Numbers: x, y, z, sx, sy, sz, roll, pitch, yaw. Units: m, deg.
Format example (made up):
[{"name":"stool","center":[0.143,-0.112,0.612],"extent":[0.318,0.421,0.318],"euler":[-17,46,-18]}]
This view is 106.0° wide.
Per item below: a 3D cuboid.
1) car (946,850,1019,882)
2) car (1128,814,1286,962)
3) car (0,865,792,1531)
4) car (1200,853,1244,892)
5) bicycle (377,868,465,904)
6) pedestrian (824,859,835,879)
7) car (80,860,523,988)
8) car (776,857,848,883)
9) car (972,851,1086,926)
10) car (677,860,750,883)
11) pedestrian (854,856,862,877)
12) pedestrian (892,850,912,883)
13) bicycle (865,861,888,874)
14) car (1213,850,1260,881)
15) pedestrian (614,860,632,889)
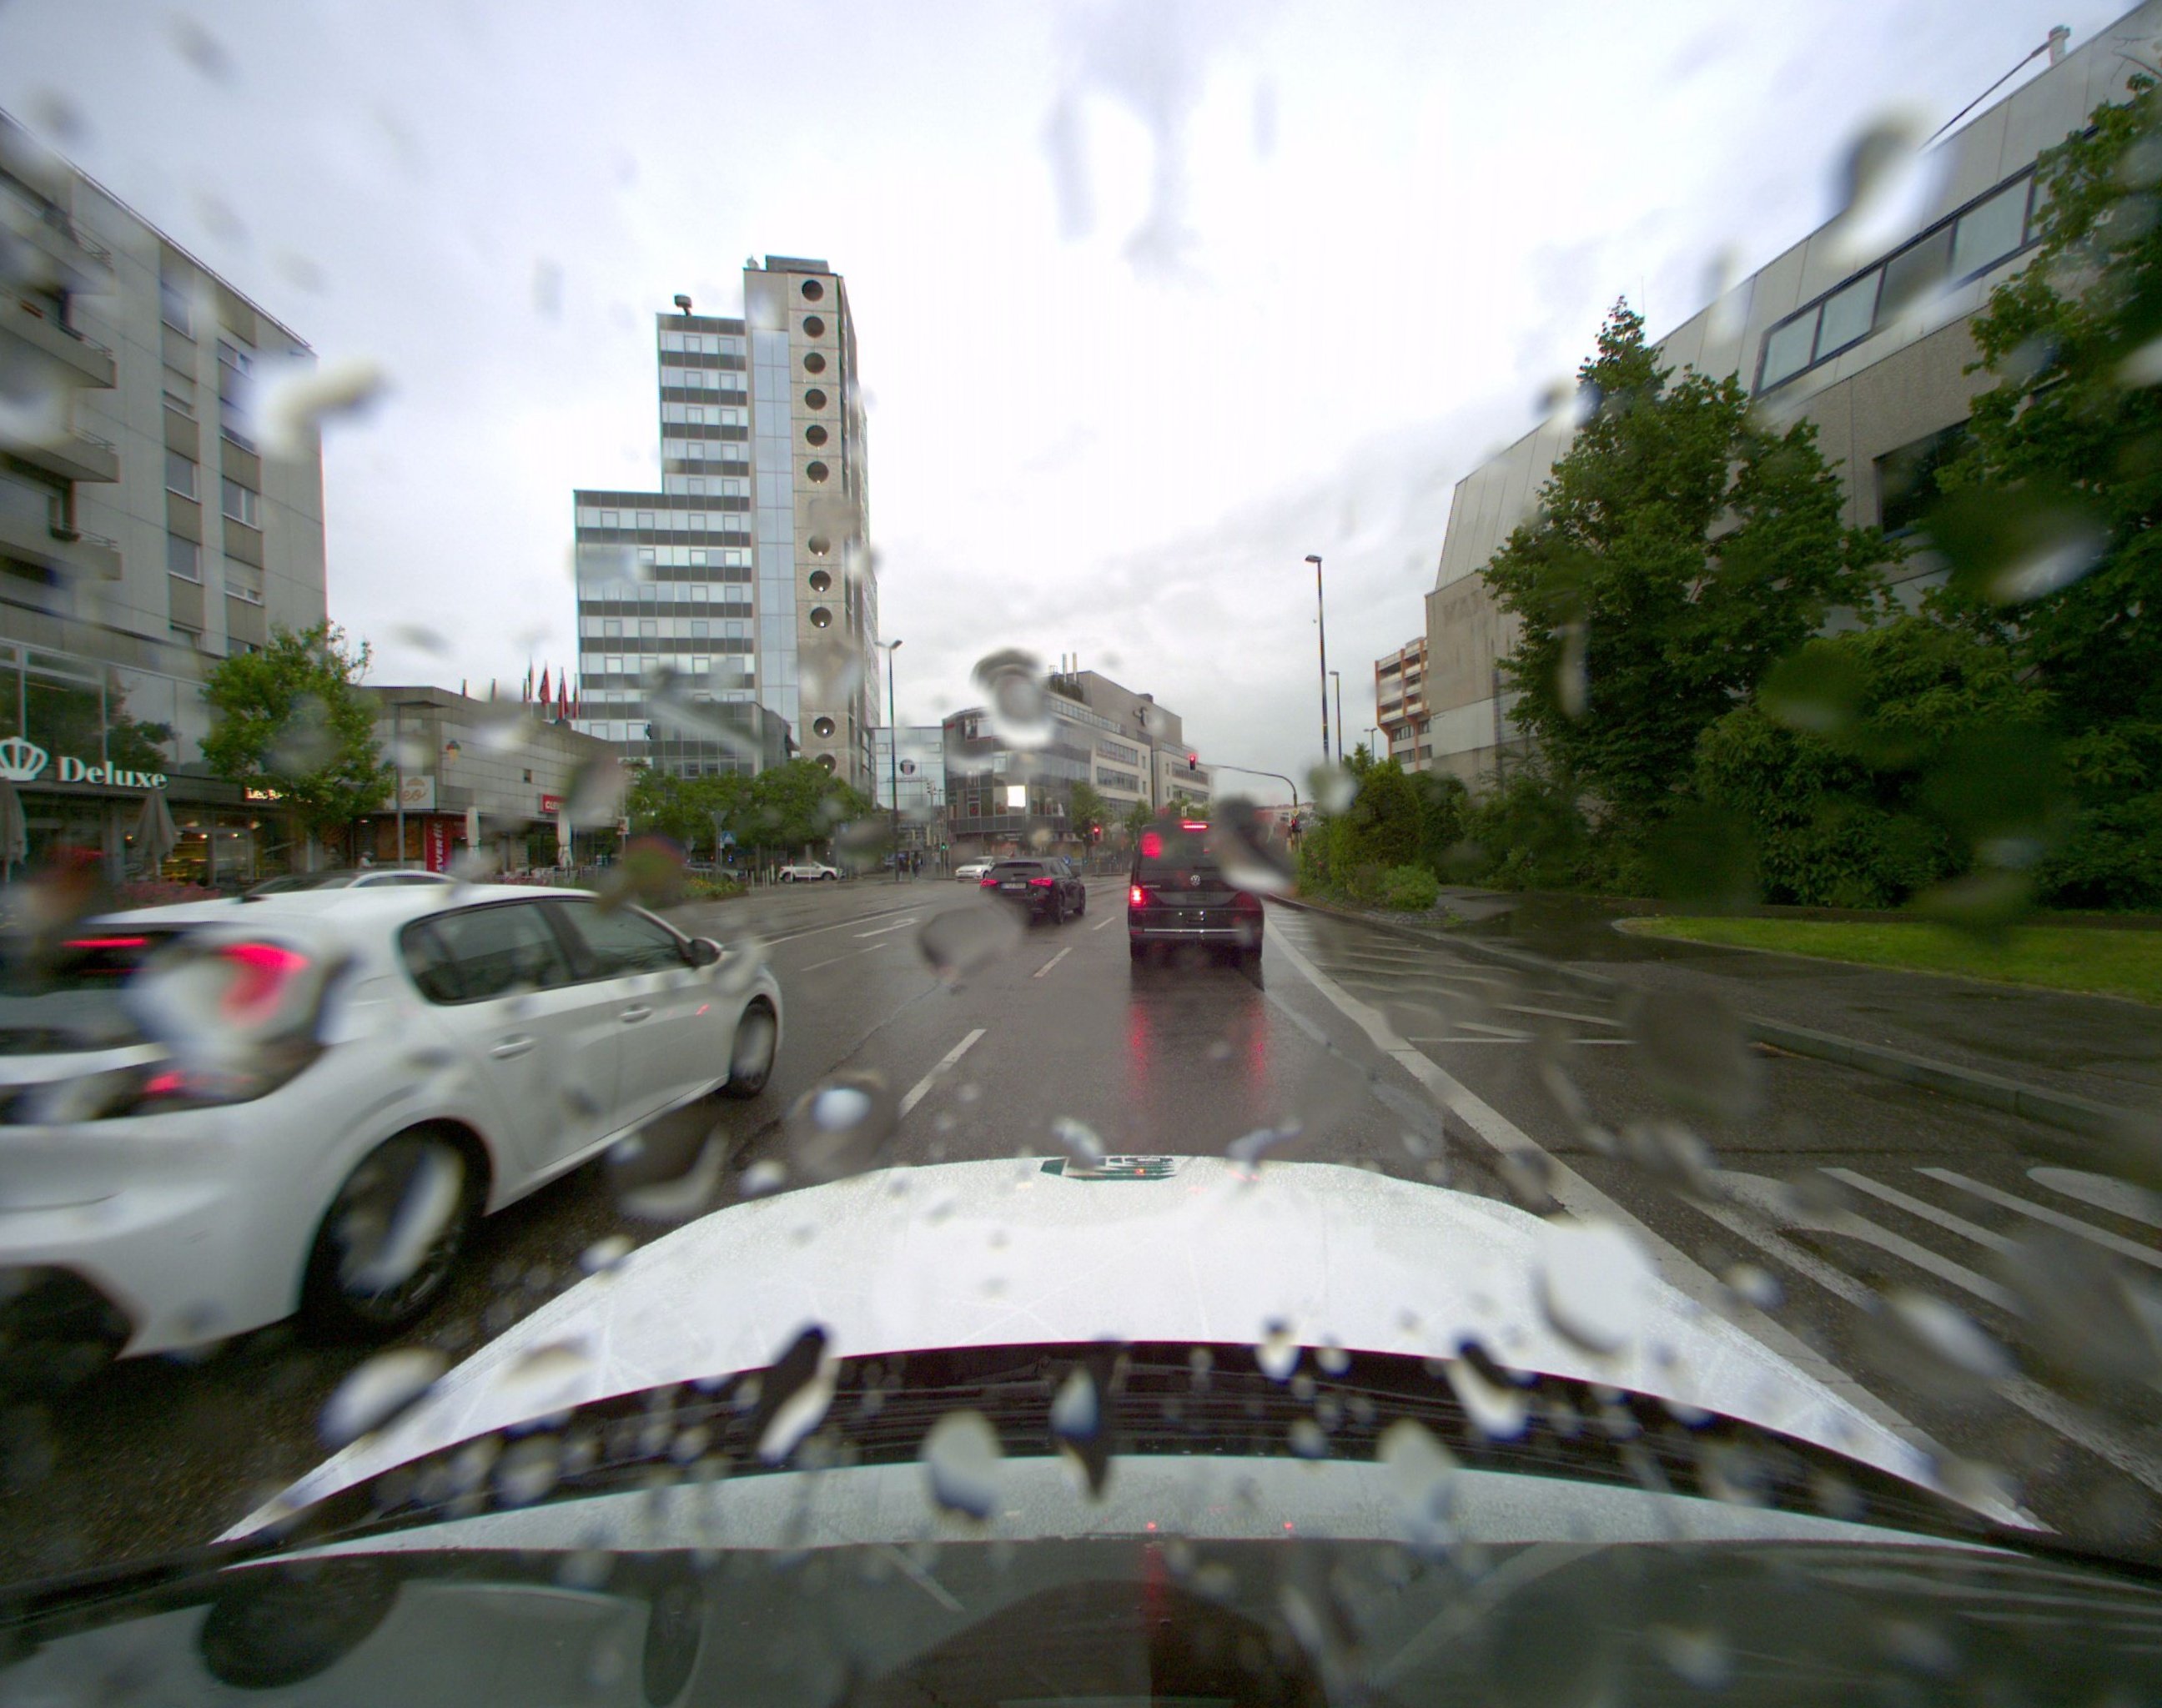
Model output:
[{"name":"car","center":[-5.480,0.661,45.880],"extent":[1.868,1.682,4.532],"euler":[-1,0,26]},{"name":"car","center":[1.926,0.464,12.805],"extent":[1.984,1.894,4.597],"euler":[-1,0,8]},{"name":"car","center":[-3.026,0.827,3.809],"extent":[1.865,1.462,3.874],"euler":[-1,0,1]},{"name":"car","center":[5.907,0.724,33.723],"extent":[1.623,1.448,4.283],"euler":[0,1,12]},{"name":"bicycle","center":[-24.285,1.170,29.992],"extent":[2.540,1.223,0.695],"euler":[-1,0,-4]},{"name":"pedestrian","center":[-24.196,1.447,78.294],"extent":[0.757,1.868,0.824],"euler":[-2,-1,-35]},{"name":"car","center":[-10.971,0.862,12.137],"extent":[1.835,1.460,4.811],"euler":[-1,0,2]},{"name":"car","center":[-18.039,1.071,54.816],"extent":[4.182,1.595,1.868],"euler":[-1,0,-3]},{"name":"car","center":[-1.069,0.705,18.711],"extent":[1.805,1.529,3.822],"euler":[0,0,9]},{"name":"car","center":[-24.783,1.184,55.052],"extent":[4.034,1.420,1.869],"euler":[-1,0,-2]},{"name":"pedestrian","center":[-21.738,1.204,79.430],"extent":[0.764,2.013,0.711],"euler":[-1,0,-15]},{"name":"pedestrian","center":[-11.152,0.762,50.653],"extent":[1.164,2.013,1.322],"euler":[-1,0,-15]},{"name":"bicycle","center":[-21.462,1.447,85.560],"extent":[2.273,1.247,0.674],"euler":[-2,-1,-10]},{"name":"car","center":[7.605,0.540,39.645],"extent":[1.897,1.400,3.472],"euler":[-2,-1,15]},{"name":"pedestrian","center":[-21.305,0.939,37.875],"extent":[0.491,1.347,0.540],"euler":[-1,0,28]}]
